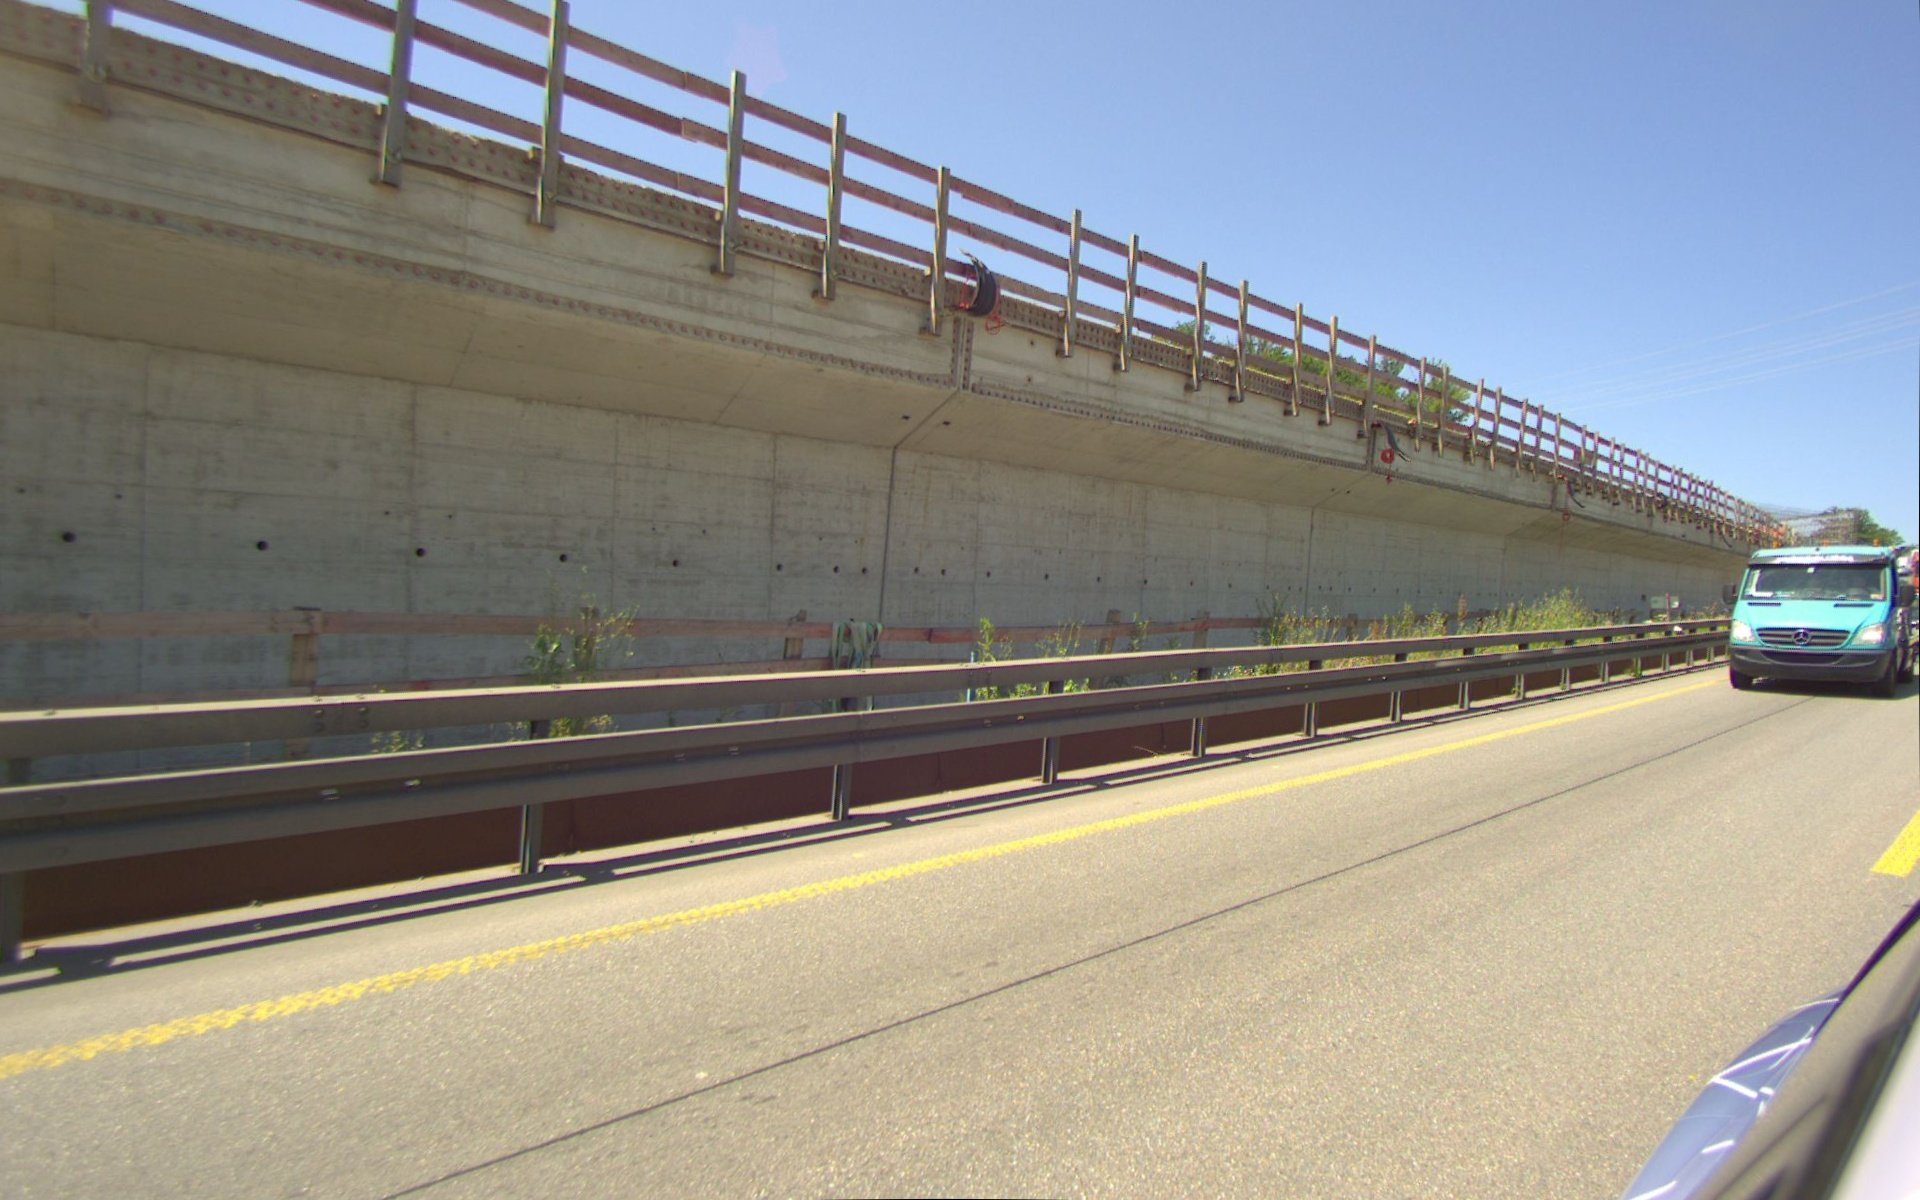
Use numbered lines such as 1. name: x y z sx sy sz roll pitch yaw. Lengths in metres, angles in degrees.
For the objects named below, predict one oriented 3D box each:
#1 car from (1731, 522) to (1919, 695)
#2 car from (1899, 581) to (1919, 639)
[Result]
1. car: 15.185 0.093 17.212 7.085 2.411 1.967 0 1 -41
2. car: 29.306 0.260 29.914 3.930 1.681 1.858 -1 1 -41
